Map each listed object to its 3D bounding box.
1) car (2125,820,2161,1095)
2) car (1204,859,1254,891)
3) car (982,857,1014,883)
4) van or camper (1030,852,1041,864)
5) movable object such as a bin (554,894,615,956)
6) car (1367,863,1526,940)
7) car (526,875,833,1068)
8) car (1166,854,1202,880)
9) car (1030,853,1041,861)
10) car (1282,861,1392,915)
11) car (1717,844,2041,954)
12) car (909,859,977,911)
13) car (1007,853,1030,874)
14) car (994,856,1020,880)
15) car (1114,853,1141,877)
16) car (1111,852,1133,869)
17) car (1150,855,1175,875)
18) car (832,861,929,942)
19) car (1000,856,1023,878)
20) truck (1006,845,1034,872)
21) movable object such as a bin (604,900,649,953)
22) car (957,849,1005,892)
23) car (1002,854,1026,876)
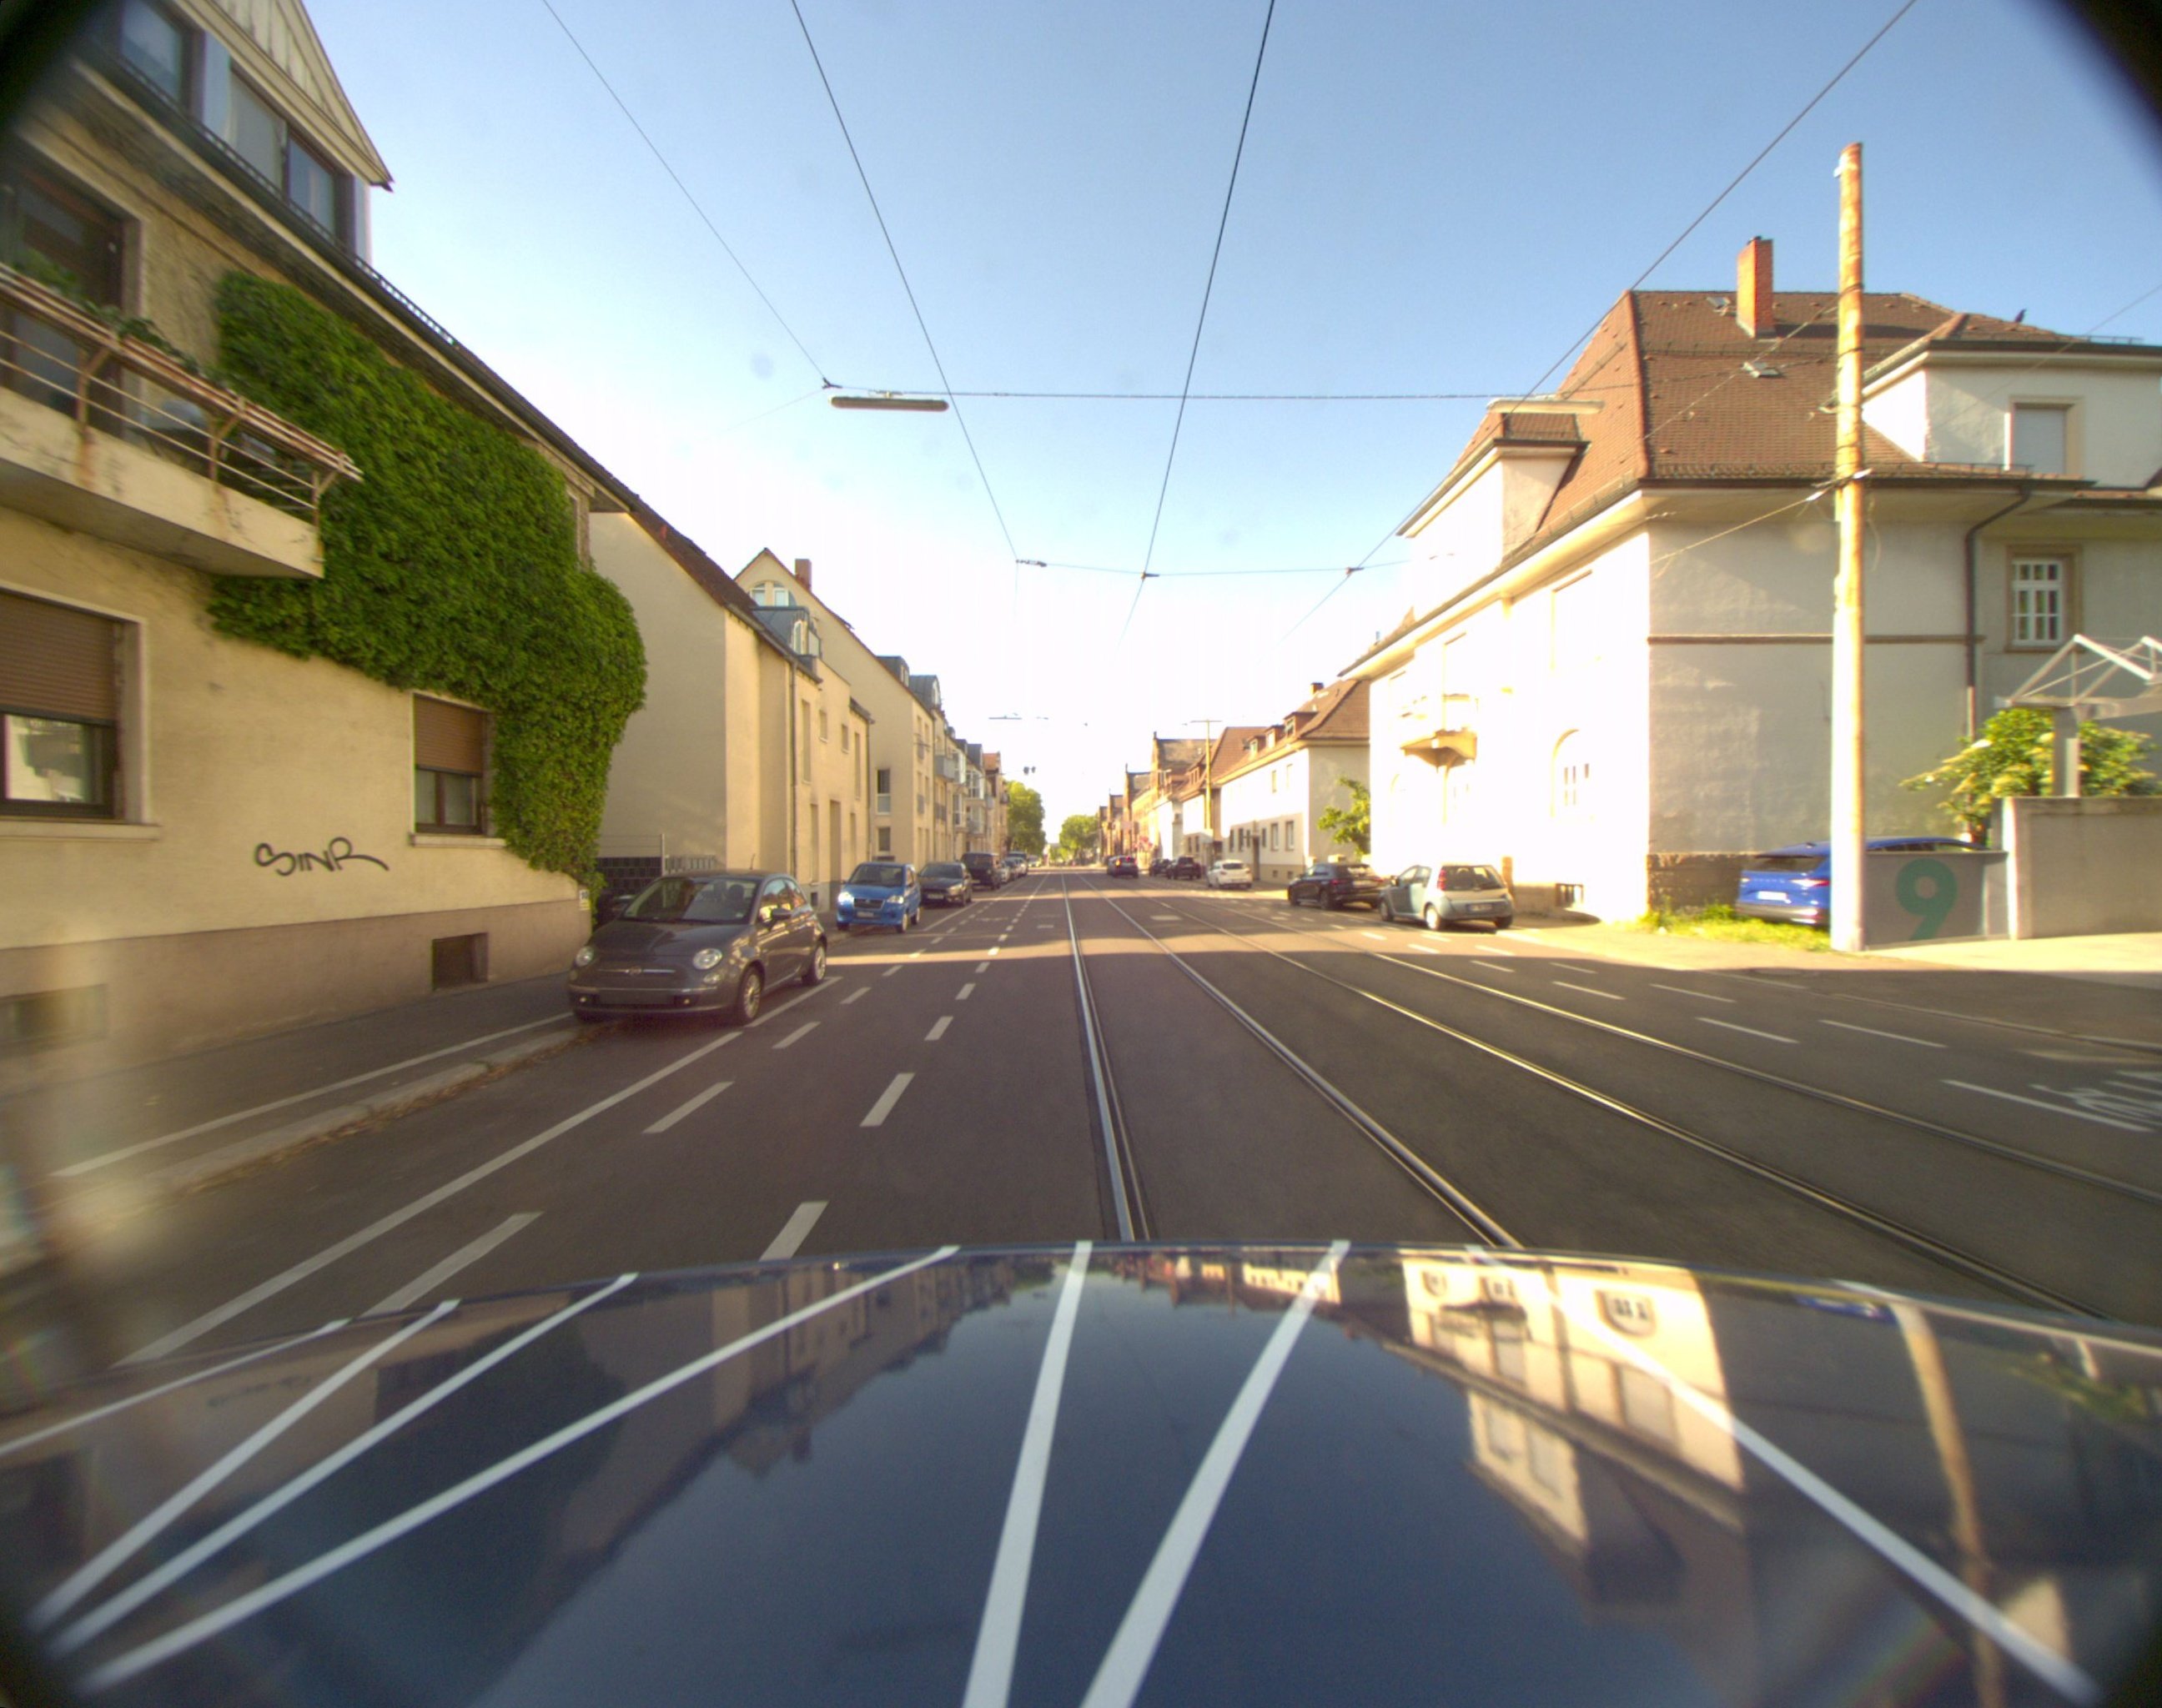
[{"bbox_3d":[8.760,0.726,3.207,1.910,2.002,4.949,-2,0,1],"label":"car"},{"bbox_3d":[7.485,1.028,38.802,1.635,1.449,4.015,1,0,-1],"label":"car"},{"bbox_3d":[-5.209,0.969,48.106,1.681,1.482,4.171,-2,0,-2],"label":"car"},{"bbox_3d":[-9.001,0.794,150.873,1.999,2.346,5.599,0,-1,-2],"label":"van or camper"},{"bbox_3d":[-8.837,1.250,13.551,0.674,1.050,0.639,0,1,-4],"label":"movable object such as a bin"},{"bbox_3d":[8.181,0.984,17.415,1.681,1.468,3.834,-2,0,-1],"label":"car"},{"bbox_3d":[-4.056,1.068,8.374,1.606,1.516,3.548,-2,0,-3],"label":"car"},{"bbox_3d":[7.234,0.878,53.759,1.767,1.695,4.554,1,0,-2],"label":"car"},{"bbox_3d":[-8.403,0.592,140.511,1.984,1.539,4.034,-1,-1,-1],"label":"car"},{"bbox_3d":[7.839,0.994,23.685,1.668,1.468,4.248,0,0,-5],"label":"car"},{"bbox_3d":[13.728,0.720,13.232,3.936,1.773,1.754,0,0,-3],"label":"car"},{"bbox_3d":[-4.725,1.006,26.635,1.749,1.589,4.432,-2,0,-3],"label":"car"},{"bbox_3d":[-5.530,0.853,67.722,1.744,1.736,4.255,-2,0,-1],"label":"car"},{"bbox_3d":[-5.121,0.974,53.167,1.558,1.548,3.651,-2,0,-2],"label":"car"},{"bbox_3d":[3.525,0.795,57.960,1.708,1.695,4.363,1,0,-1],"label":"car"},{"bbox_3d":[3.533,0.552,65.929,1.621,1.452,4.074,1,0,0],"label":"car"},{"bbox_3d":[6.981,0.903,65.311,1.620,1.618,3.920,1,0,-2],"label":"car"},{"bbox_3d":[-4.505,1.005,17.498,1.461,1.589,3.293,-2,0,-3],"label":"car"},{"bbox_3d":[-5.226,0.950,57.630,1.500,1.548,3.364,-2,0,-2],"label":"car"},{"bbox_3d":[-5.888,0.423,74.007,2.301,2.463,6.145,0,0,-1],"label":"truck"},{"bbox_3d":[-8.171,1.300,13.676,0.494,0.911,0.514,0,1,-4],"label":"movable object such as a bin"},{"bbox_3d":[-4.995,0.789,38.562,1.911,1.975,4.562,-2,0,-2],"label":"car"},{"bbox_3d":[-5.483,0.841,62.298,1.607,1.690,3.989,-2,0,-1],"label":"car"}]
